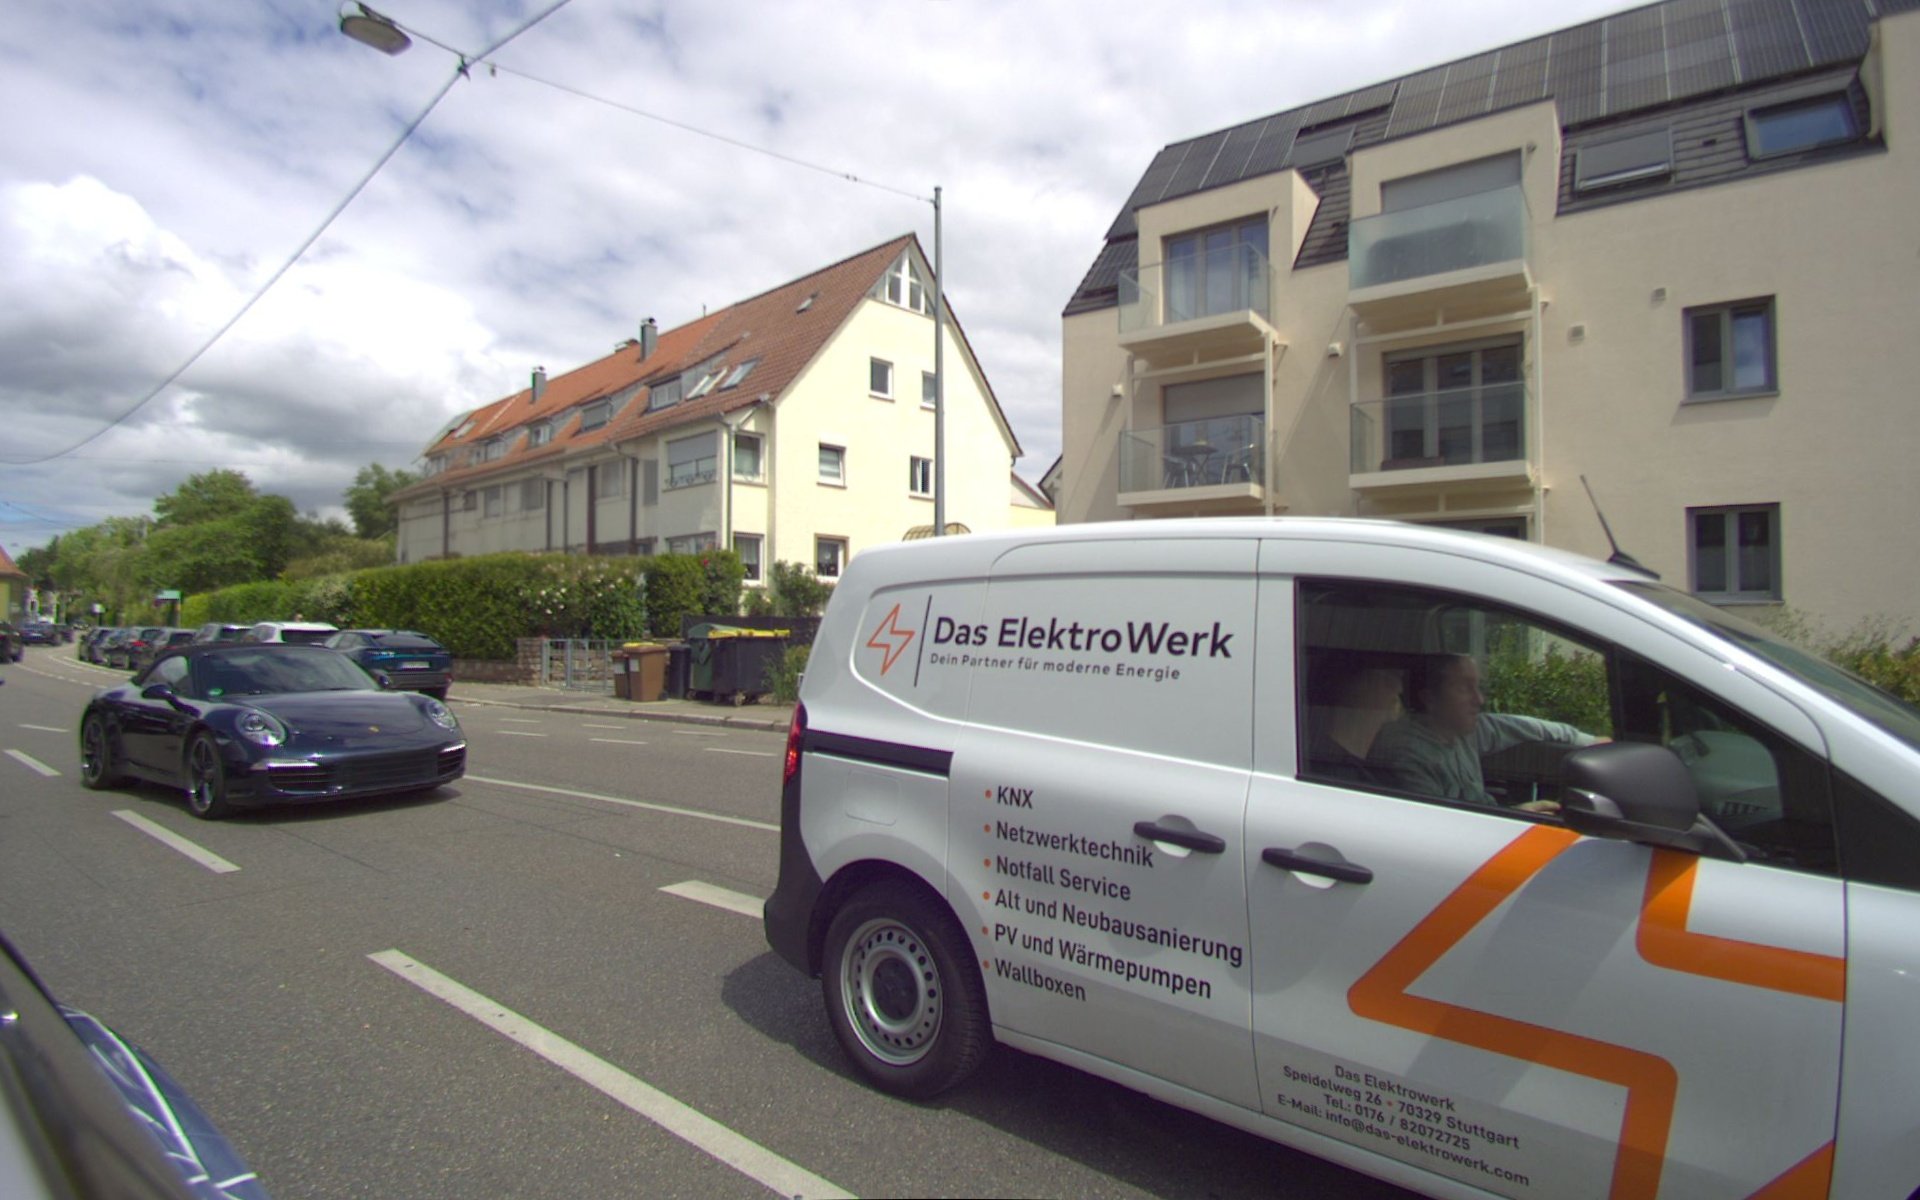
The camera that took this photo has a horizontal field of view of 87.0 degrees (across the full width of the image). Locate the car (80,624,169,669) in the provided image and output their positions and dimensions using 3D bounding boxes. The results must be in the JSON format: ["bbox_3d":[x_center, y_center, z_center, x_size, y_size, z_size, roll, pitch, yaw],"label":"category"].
[{"bbox_3d":[-32.371,1.751,39.186,4.234,1.645,1.973,-1,-2,41],"label":"car"}]

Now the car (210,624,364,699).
[{"bbox_3d":[-16.305,1.396,24.433,4.451,1.645,1.973,-1,-2,41],"label":"car"}]

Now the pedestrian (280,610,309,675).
[{"bbox_3d":[-19.202,1.218,29.201,0.511,1.829,0.526,-1,-2,36],"label":"pedestrian"}]

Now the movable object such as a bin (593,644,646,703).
[{"bbox_3d":[-6.563,1.406,19.521,0.752,1.073,0.693,1,-2,-42],"label":"movable object such as a bin"}]

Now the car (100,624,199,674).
[{"bbox_3d":[-28.318,1.662,35.317,4.234,1.645,1.973,-1,-2,41],"label":"car"}]

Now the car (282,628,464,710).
[{"bbox_3d":[-12.352,1.365,21.189,4.447,1.513,1.796,-1,-1,38],"label":"car"}]

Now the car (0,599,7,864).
[{"bbox_3d":[-7.816,0.813,6.731,3.999,1.587,1.751,-1,-1,41],"label":"car"}]

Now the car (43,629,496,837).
[{"bbox_3d":[-5.993,0.949,8.677,4.032,1.374,1.796,-1,-1,33],"label":"car"}]

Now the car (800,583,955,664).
[{"bbox_3d":[-2.184,0.625,27.524,1.999,2.029,3.946,-1,-1,40],"label":"car"}]

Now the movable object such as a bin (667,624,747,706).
[{"bbox_3d":[-4.706,1.189,18.854,0.980,1.457,1.078,-1,-2,41],"label":"movable object such as a bin"}]

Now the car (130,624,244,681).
[{"bbox_3d":[-24.079,1.593,31.472,4.234,1.645,1.973,-1,-2,41],"label":"car"}]

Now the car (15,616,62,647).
[{"bbox_3d":[-59.648,2.008,65.553,1.968,1.929,4.077,1,-1,-38],"label":"car"}]

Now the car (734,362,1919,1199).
[{"bbox_3d":[1.466,0.547,2.878,4.414,1.825,1.798,-1,-1,39],"label":"car"}]

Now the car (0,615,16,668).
[{"bbox_3d":[-36.811,1.549,37.821,4.069,1.929,1.972,-1,-2,43],"label":"car"}]

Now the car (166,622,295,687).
[{"bbox_3d":[-20.167,1.442,27.917,4.234,1.645,1.973,-1,-2,41],"label":"car"}]

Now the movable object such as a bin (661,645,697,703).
[{"bbox_3d":[-5.399,1.412,19.462,0.516,1.073,0.656,0,-1,2],"label":"movable object such as a bin"}]

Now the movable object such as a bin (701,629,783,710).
[{"bbox_3d":[-3.883,1.209,18.041,0.980,1.373,1.078,-1,-2,41],"label":"movable object such as a bin"}]

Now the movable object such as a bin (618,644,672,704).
[{"bbox_3d":[-5.931,1.383,19.079,0.752,1.073,0.693,1,-2,-42],"label":"movable object such as a bin"}]
